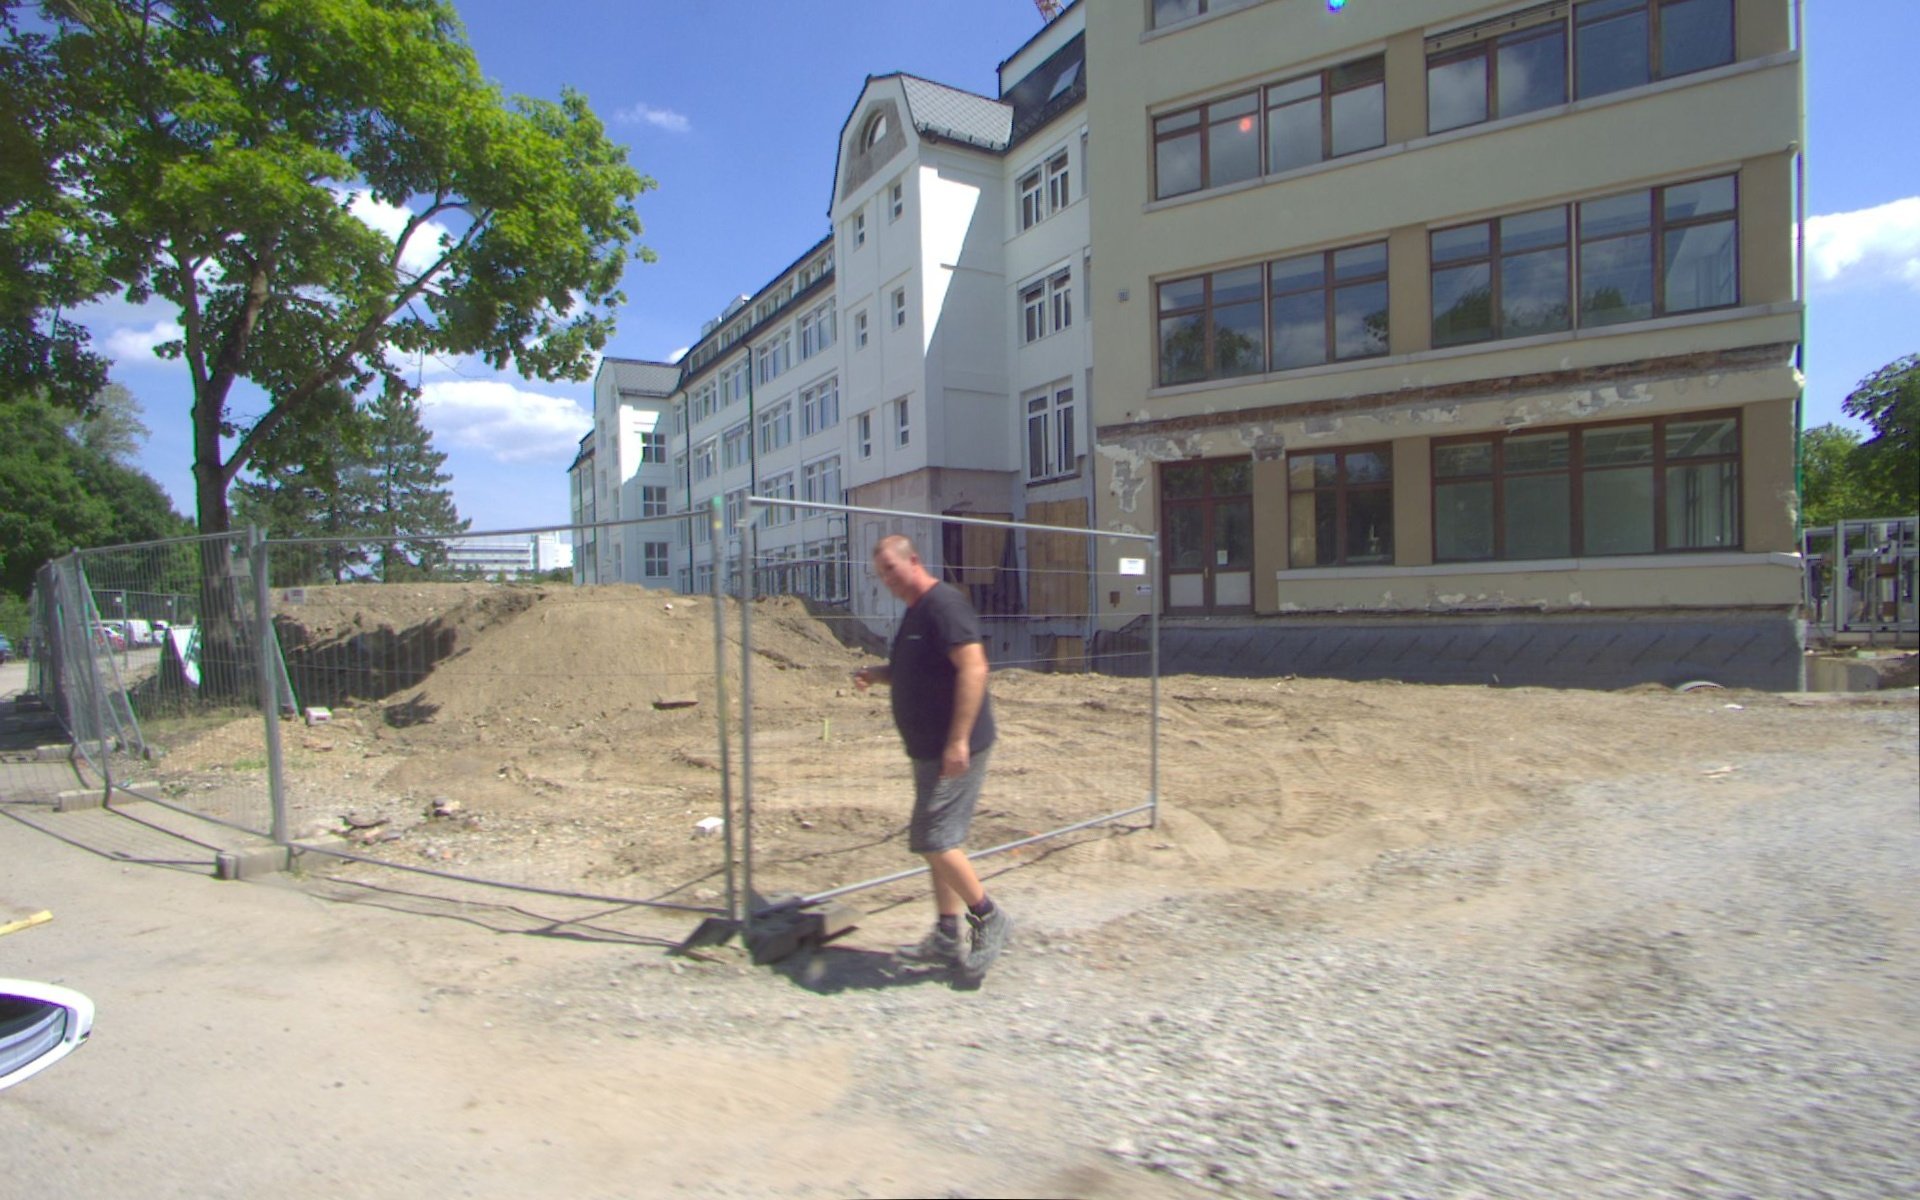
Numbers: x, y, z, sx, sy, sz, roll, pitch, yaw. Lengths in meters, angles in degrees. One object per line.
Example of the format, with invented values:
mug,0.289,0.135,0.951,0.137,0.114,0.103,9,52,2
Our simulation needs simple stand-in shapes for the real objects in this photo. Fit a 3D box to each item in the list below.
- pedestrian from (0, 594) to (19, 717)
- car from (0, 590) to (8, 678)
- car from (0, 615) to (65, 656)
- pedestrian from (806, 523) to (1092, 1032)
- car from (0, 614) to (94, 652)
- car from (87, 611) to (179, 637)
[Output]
pedestrian,-13.654,0.759,13.701,1.037,1.672,1.030,0,1,42
car,-21.240,0.742,20.312,1.953,1.973,4.552,-1,0,-33
car,-39.525,1.467,40.624,4.458,1.619,1.925,0,0,-32
pedestrian,-0.079,0.644,4.190,0.951,1.844,0.868,-1,1,-20
car,-42.055,1.468,45.026,4.459,1.619,1.715,0,0,-33
car,-54.742,1.551,66.393,4.458,1.619,1.715,-1,0,-33
